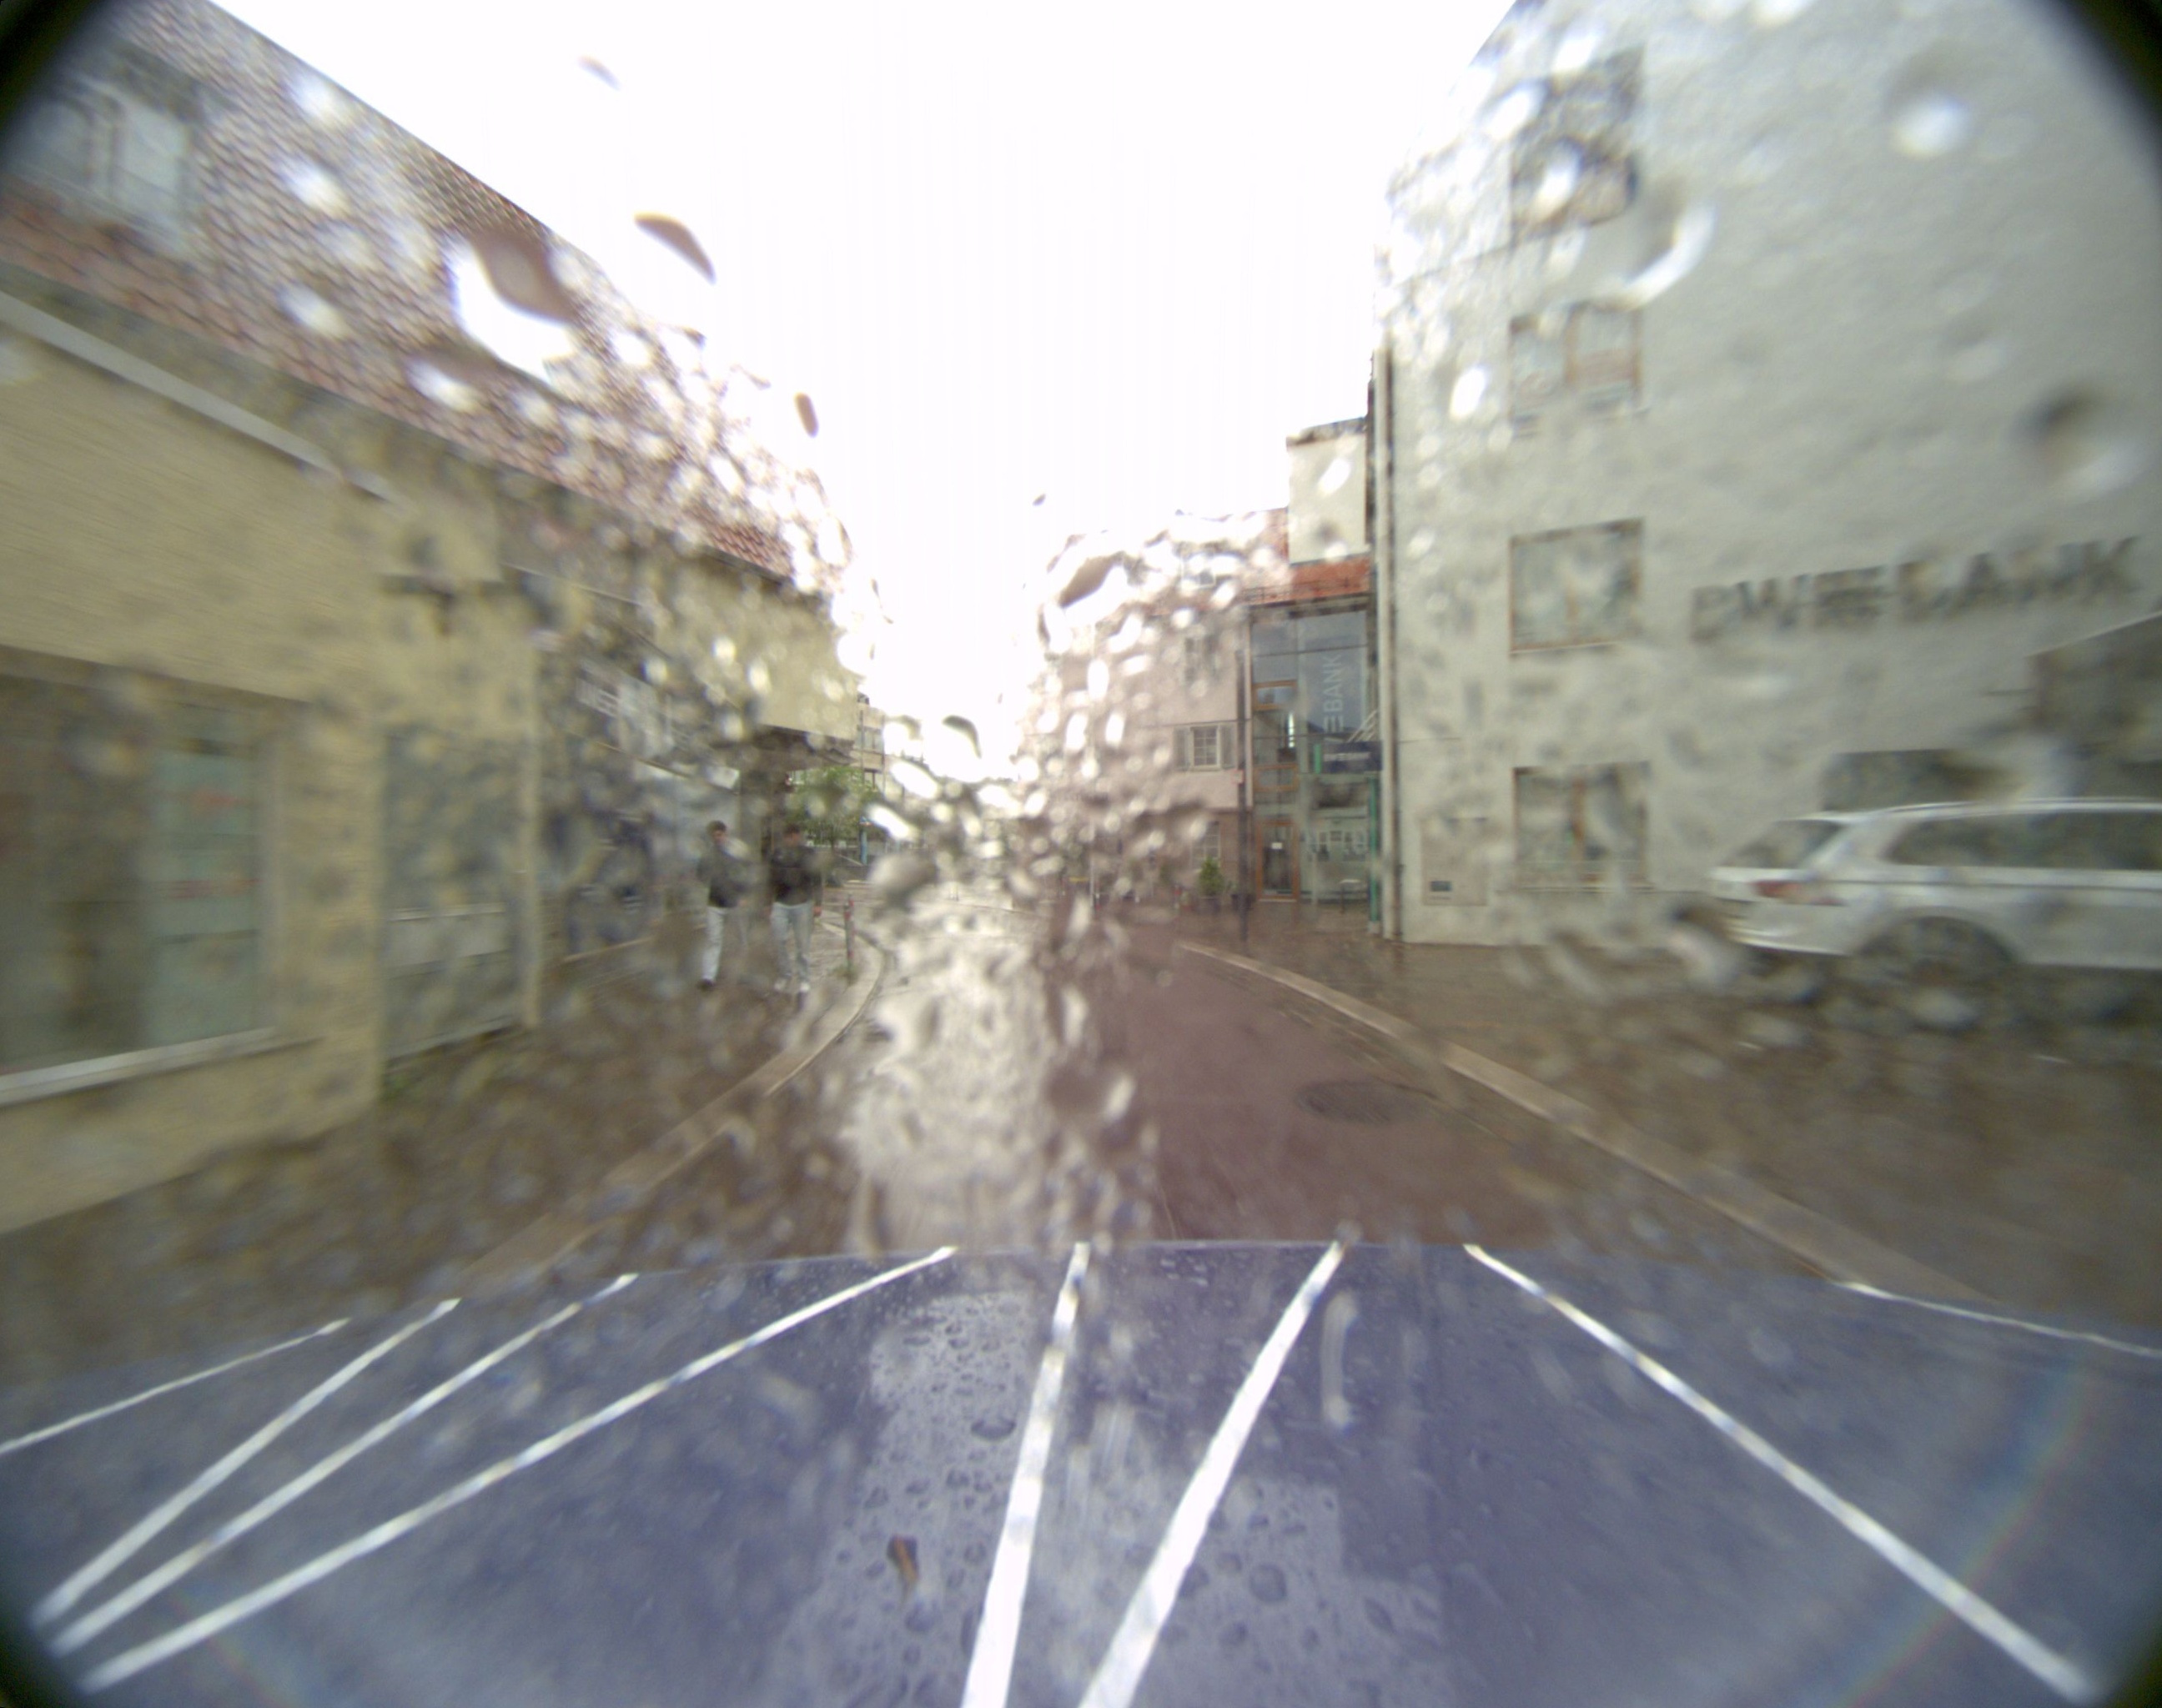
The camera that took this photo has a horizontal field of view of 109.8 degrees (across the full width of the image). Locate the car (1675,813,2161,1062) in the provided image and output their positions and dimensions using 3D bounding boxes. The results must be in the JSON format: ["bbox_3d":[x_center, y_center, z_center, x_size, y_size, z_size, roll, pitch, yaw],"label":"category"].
[{"bbox_3d":[7.179,0.505,5.639,3.990,1.575,1.835,-1,2,20],"label":"car"}]

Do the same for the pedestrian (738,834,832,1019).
[{"bbox_3d":[-3.205,0.737,8.302,0.774,1.894,0.804,-2,2,-13],"label":"pedestrian"}]

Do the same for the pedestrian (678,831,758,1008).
[{"bbox_3d":[-4.038,0.701,8.481,0.656,1.892,0.658,1,1,-13],"label":"pedestrian"}]
